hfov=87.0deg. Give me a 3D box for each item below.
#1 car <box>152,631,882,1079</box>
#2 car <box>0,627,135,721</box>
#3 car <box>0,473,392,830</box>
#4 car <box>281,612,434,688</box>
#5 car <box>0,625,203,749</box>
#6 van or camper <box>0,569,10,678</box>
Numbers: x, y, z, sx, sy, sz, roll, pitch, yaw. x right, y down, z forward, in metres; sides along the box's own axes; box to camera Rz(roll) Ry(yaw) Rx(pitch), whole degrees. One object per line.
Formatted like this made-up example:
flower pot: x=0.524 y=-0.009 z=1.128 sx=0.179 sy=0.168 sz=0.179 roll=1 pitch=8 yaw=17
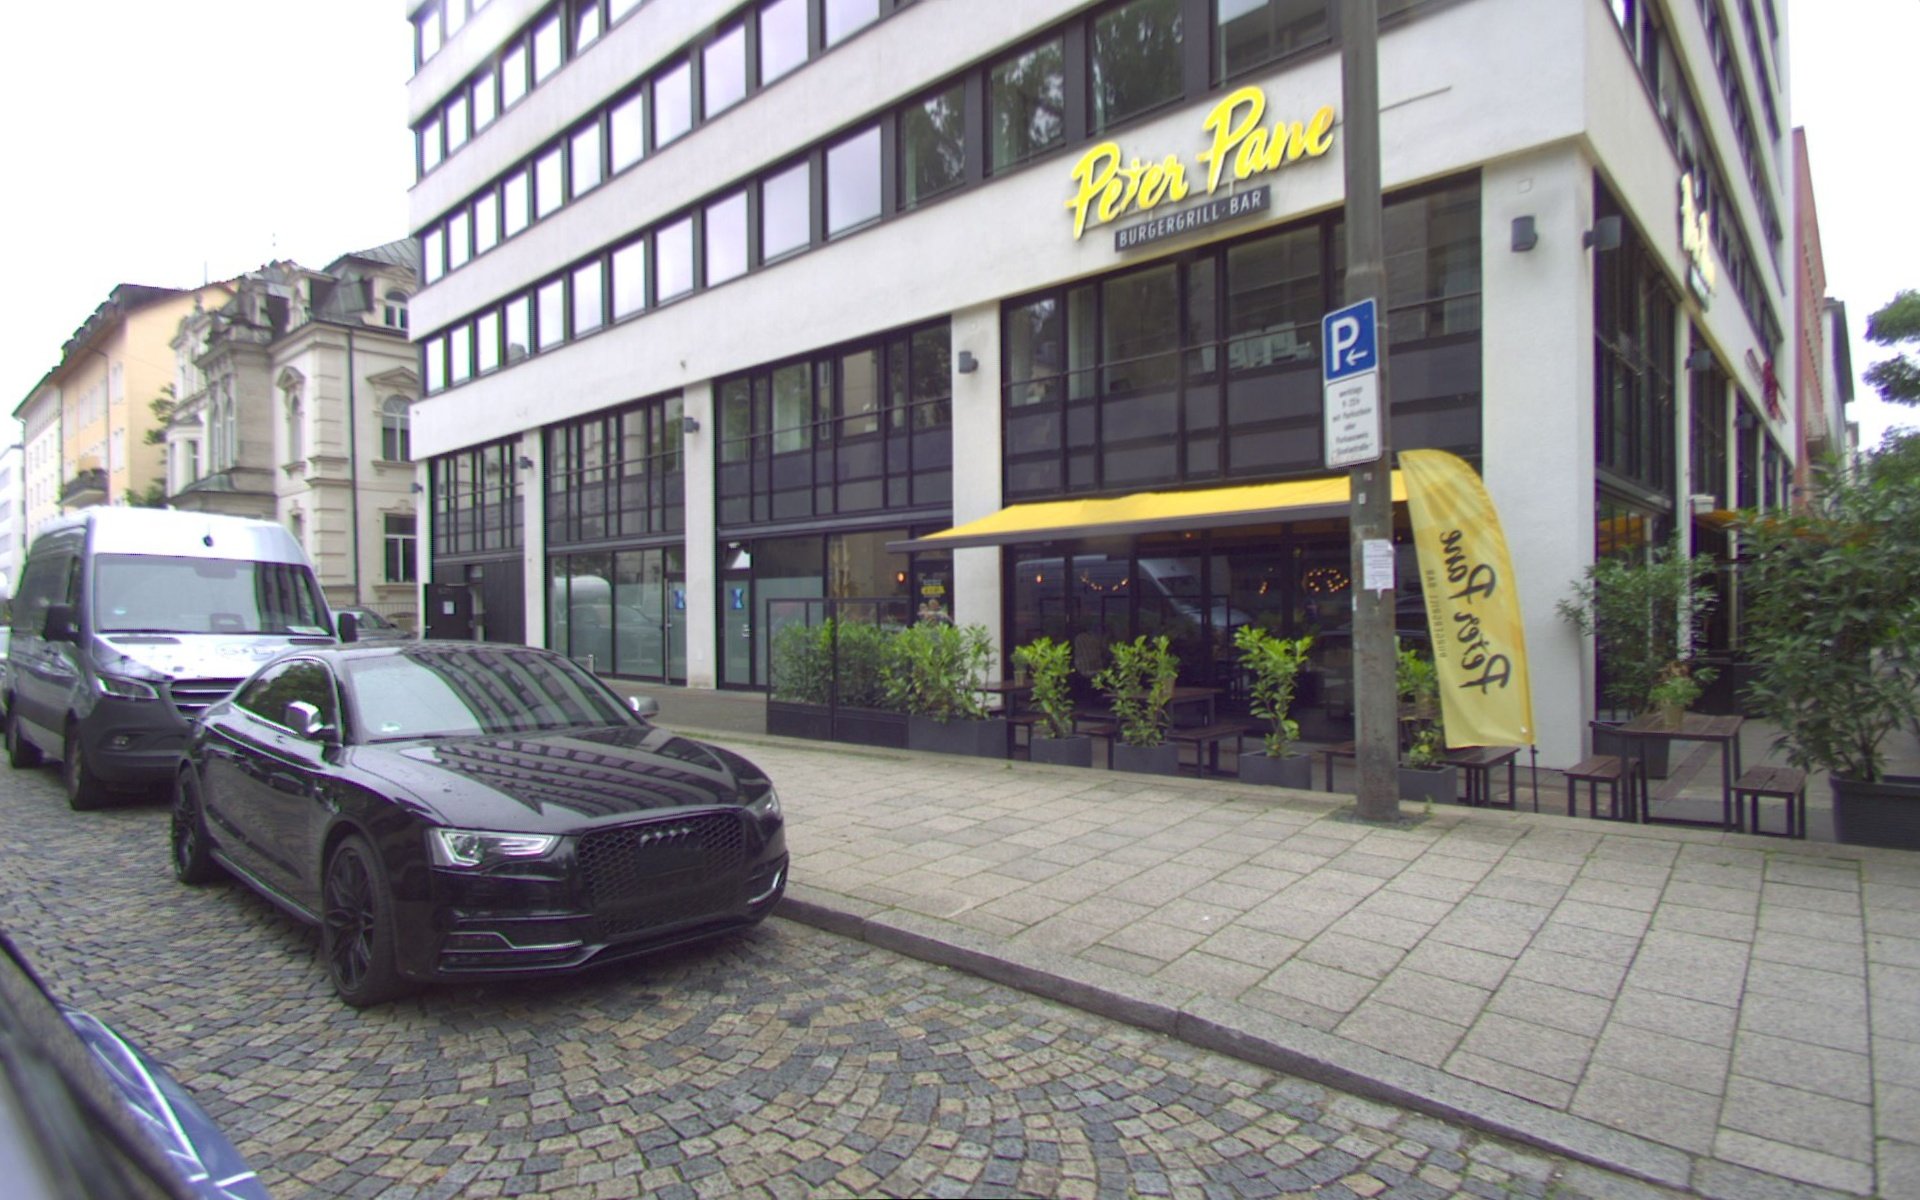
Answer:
car: x=-2.549 y=0.867 z=5.306 sx=4.115 sy=1.340 sz=1.973 roll=-1 pitch=-1 yaw=41
car: x=-15.757 y=1.189 z=17.282 sx=3.998 sy=1.399 sz=1.973 roll=-1 pitch=-1 yaw=41
car: x=-7.735 y=0.404 z=9.808 sx=5.846 sy=2.510 sz=2.038 roll=-1 pitch=-1 yaw=41
car: x=-13.811 y=1.075 z=23.118 sx=4.169 sy=1.544 sz=1.887 roll=-1 pitch=-1 yaw=42
car: x=-12.284 y=1.094 z=14.138 sx=3.998 sy=1.441 sz=1.973 roll=-1 pitch=-1 yaw=41
van or camper: x=-30.374 y=0.732 z=30.009 sx=7.313 sy=3.070 sz=2.432 roll=-1 pitch=-1 yaw=41
